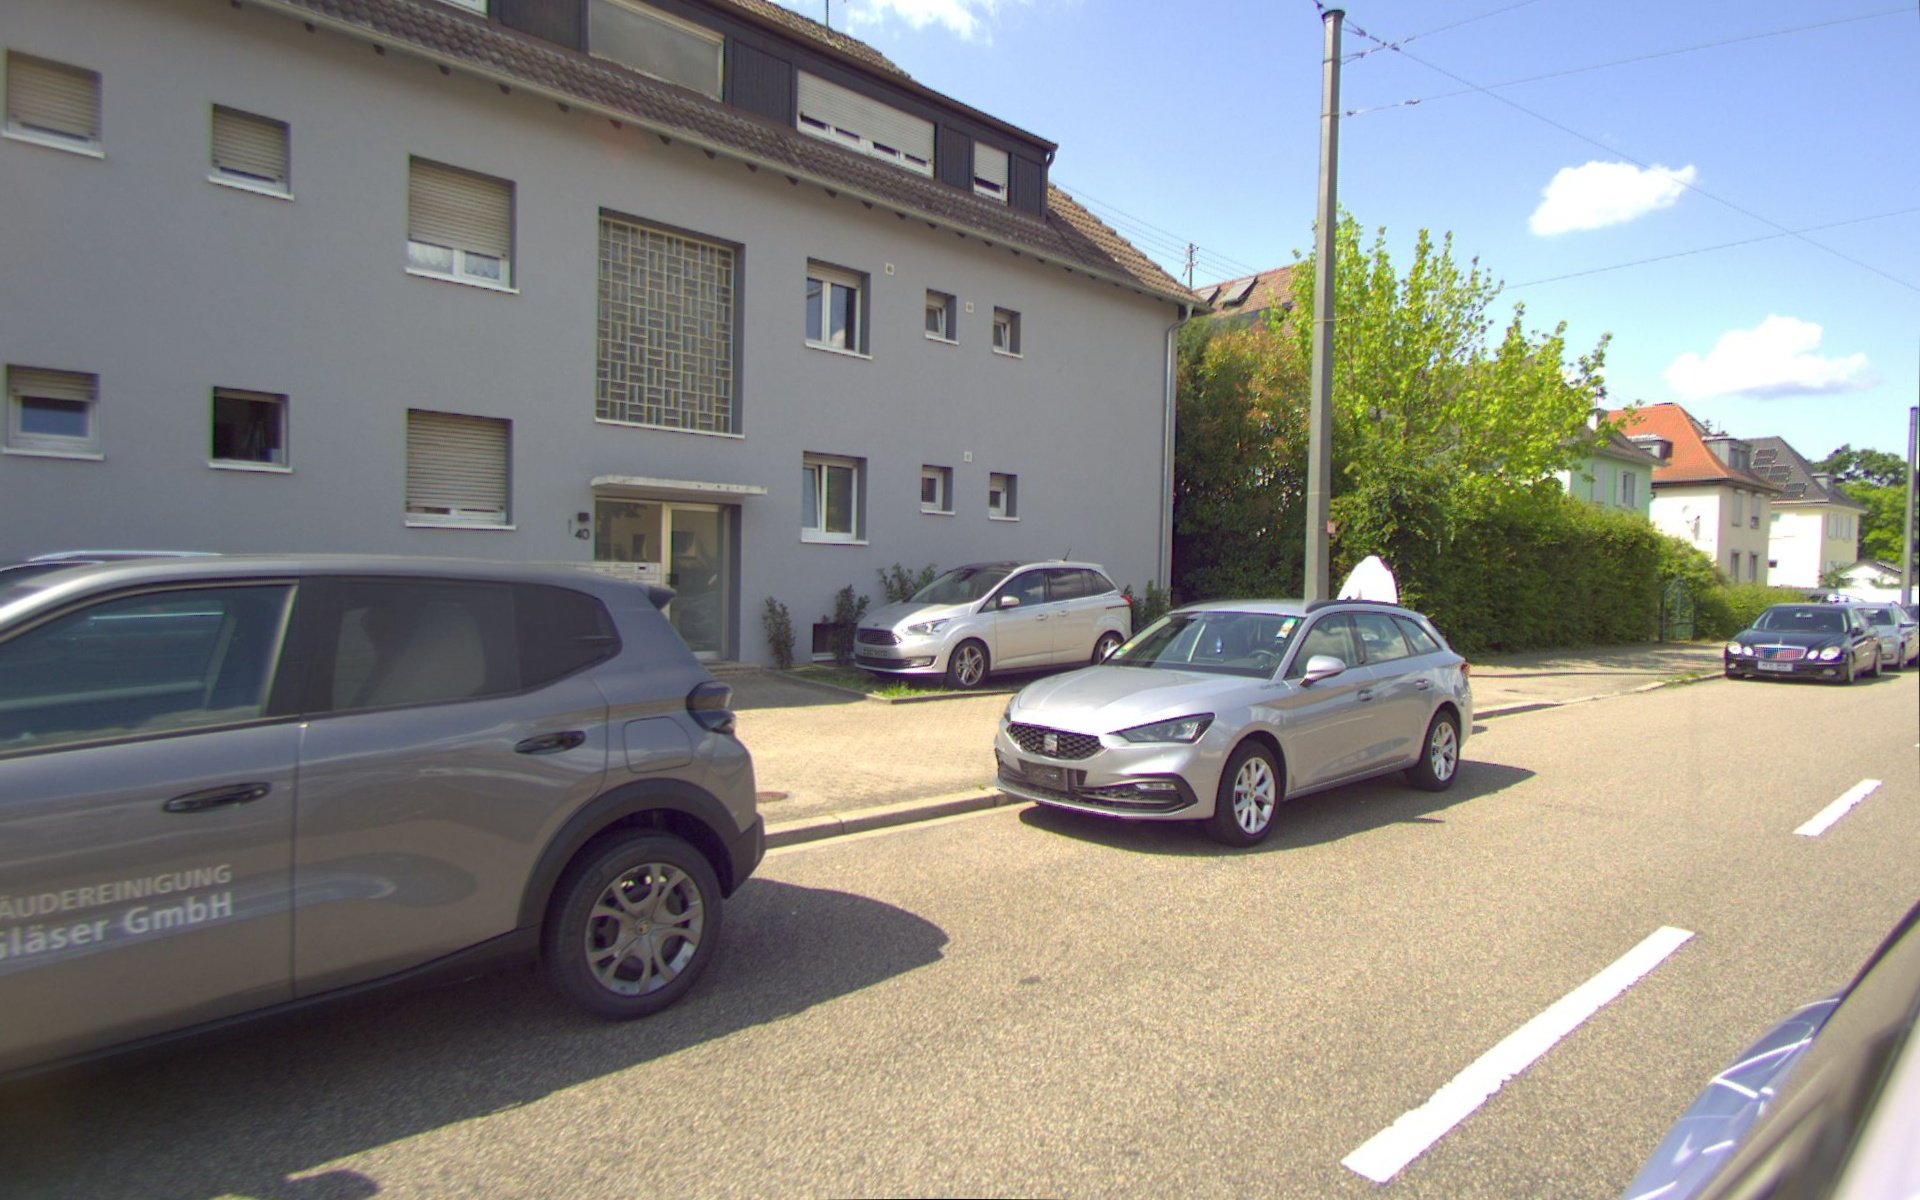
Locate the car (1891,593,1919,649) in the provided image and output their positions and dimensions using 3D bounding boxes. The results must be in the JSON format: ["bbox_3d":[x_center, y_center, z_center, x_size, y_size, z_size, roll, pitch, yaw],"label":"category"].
[{"bbox_3d":[27.799,0.560,28.426,4.019,1.508,1.742,-1,1,-37],"label":"car"}]

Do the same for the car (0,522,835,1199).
[{"bbox_3d":[-2.622,0.595,3.175,4.181,1.579,1.809,-1,1,-43],"label":"car"}]

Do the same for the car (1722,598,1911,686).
[{"bbox_3d":[16.474,0.725,19.364,4.966,1.462,1.904,0,0,-39],"label":"car"}]

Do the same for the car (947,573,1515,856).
[{"bbox_3d":[2.221,0.561,7.457,4.562,1.472,1.818,-1,1,-41],"label":"car"}]

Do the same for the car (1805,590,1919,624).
[{"bbox_3d":[48.269,0.352,54.084,1.730,1.478,4.465,0,3,-36],"label":"car"}]

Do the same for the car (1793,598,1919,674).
[{"bbox_3d":[20.554,0.725,22.811,4.918,1.473,1.894,-1,1,-40],"label":"car"}]

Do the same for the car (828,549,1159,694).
[{"bbox_3d":[0.617,0.194,14.018,4.689,1.667,1.759,-1,3,-43],"label":"car"}]

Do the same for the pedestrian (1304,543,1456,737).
[{"bbox_3d":[4.582,0.380,11.059,1.072,1.970,1.115,0,2,-39],"label":"pedestrian"}]

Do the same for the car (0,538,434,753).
[{"bbox_3d":[-6.840,0.267,7.678,4.772,1.441,1.802,0,3,-41],"label":"car"}]
